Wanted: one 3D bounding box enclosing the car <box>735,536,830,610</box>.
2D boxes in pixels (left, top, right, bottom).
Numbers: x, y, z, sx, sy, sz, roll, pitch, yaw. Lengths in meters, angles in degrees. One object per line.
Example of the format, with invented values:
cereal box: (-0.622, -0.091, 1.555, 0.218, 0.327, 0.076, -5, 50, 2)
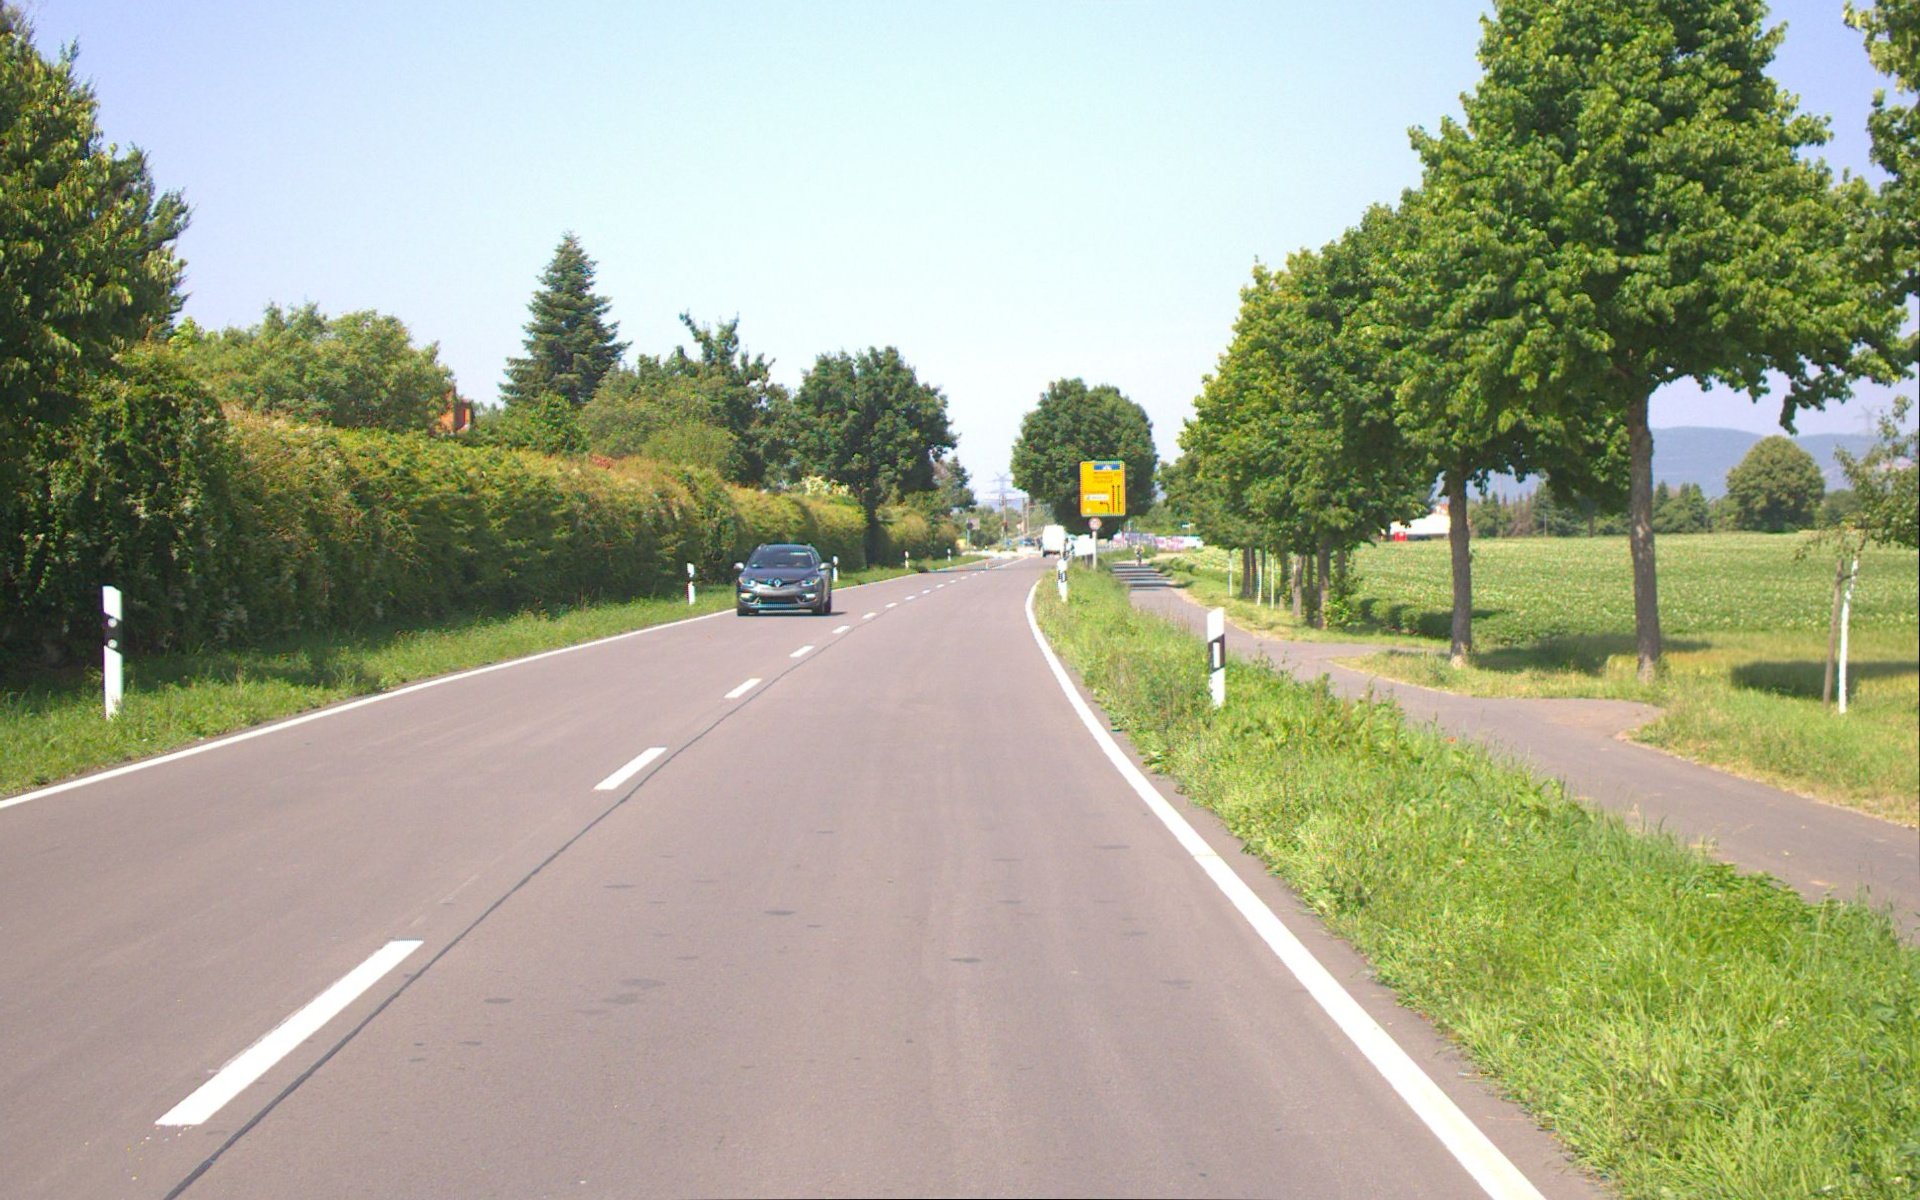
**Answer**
car: (-3.672, -0.580, 71.596, 1.840, 1.462, 3.933, -1, 1, -1)
